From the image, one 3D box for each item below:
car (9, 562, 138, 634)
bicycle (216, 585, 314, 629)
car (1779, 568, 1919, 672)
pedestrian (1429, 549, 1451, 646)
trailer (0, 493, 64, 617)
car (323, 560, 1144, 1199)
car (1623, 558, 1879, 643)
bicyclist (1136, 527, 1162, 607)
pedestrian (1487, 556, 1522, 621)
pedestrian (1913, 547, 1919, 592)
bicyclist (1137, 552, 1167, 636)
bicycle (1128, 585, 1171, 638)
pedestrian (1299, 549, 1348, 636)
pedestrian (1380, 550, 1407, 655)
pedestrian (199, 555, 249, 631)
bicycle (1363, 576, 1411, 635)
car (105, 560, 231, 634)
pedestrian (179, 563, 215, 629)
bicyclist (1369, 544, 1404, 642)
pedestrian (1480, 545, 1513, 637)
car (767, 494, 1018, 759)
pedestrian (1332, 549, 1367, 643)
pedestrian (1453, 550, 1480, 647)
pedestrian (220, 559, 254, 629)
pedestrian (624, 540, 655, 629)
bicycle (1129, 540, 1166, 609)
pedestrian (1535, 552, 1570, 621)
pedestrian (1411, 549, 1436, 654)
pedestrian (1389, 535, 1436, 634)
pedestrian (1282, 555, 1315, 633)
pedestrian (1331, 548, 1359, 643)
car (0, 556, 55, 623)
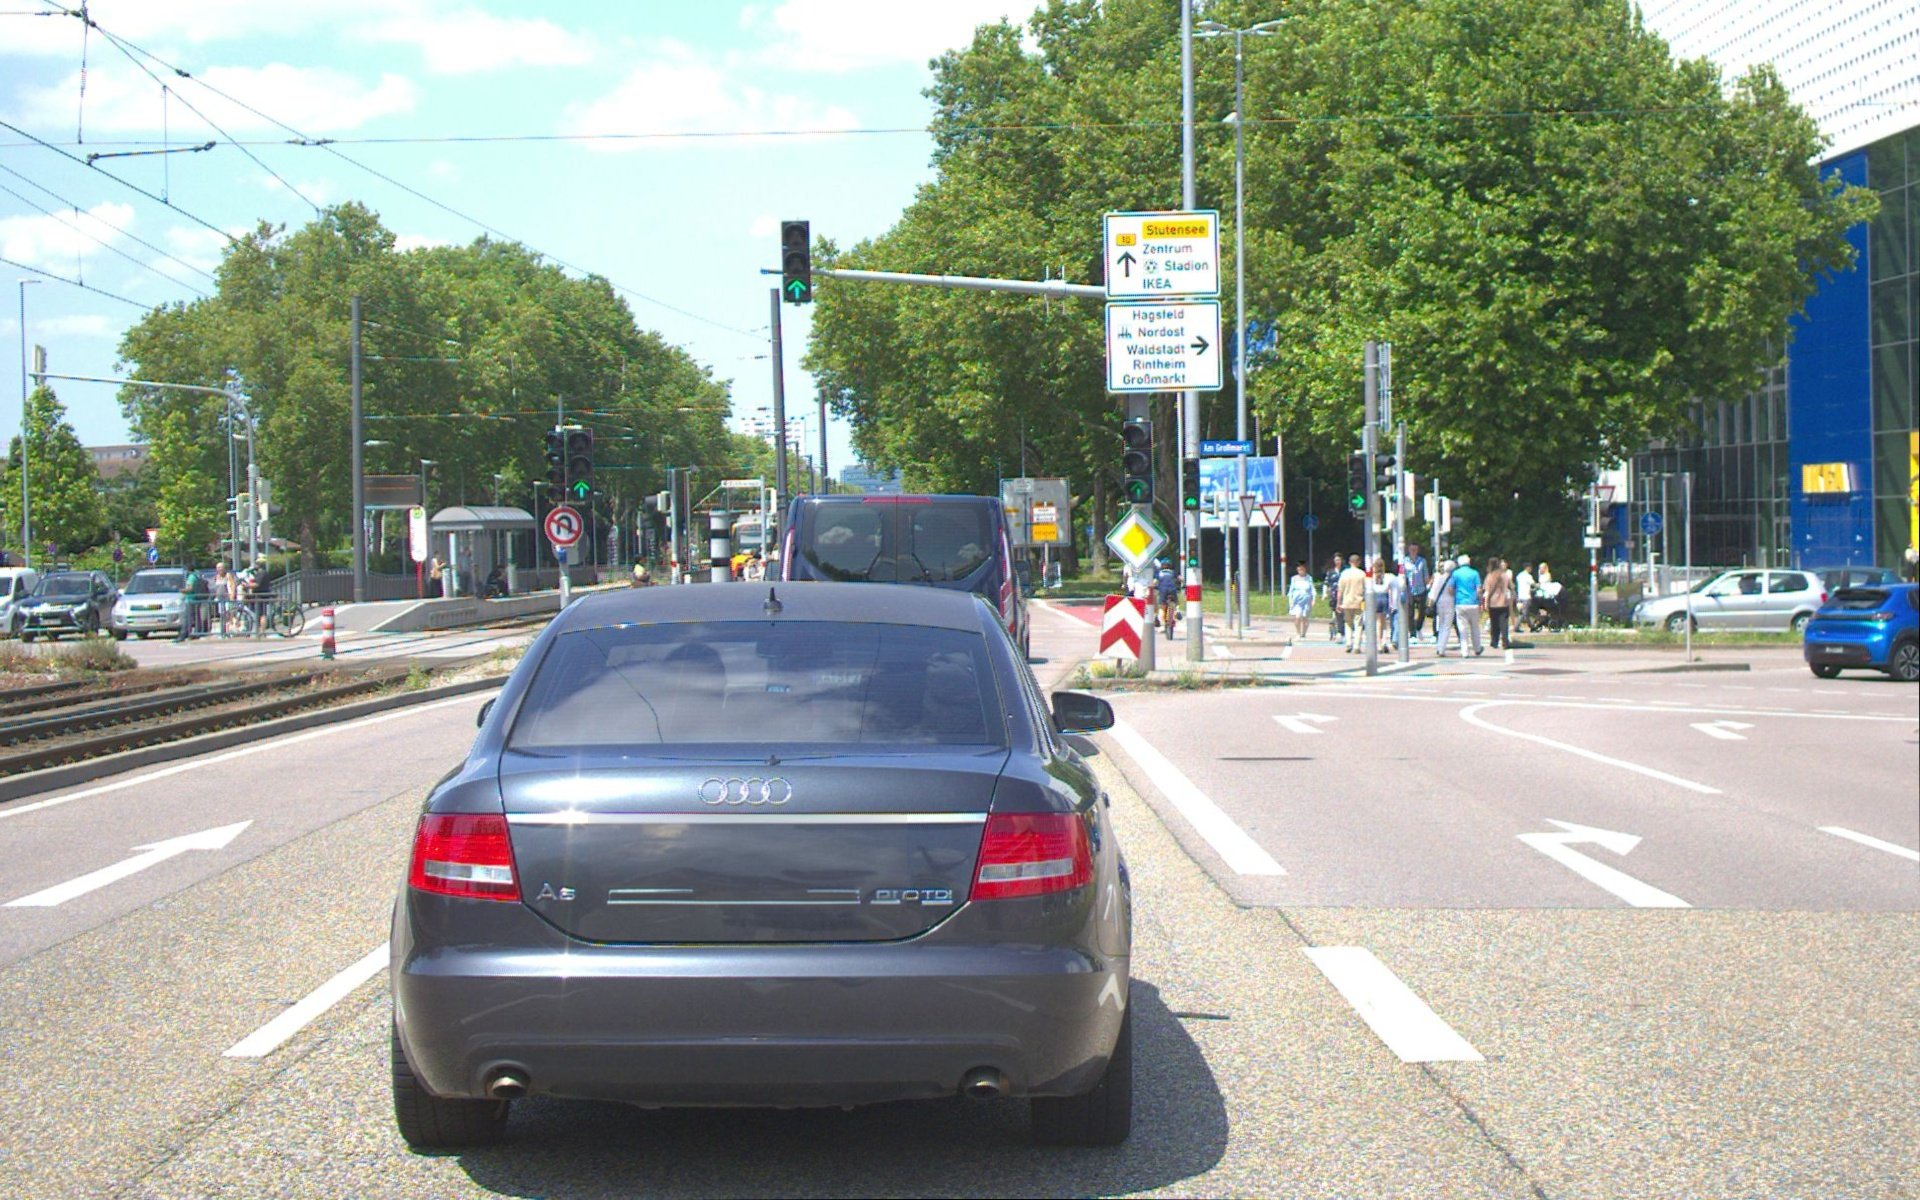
[{"bbox_3d":[-21.664,-0.068,84.195,1.822,1.664,4.461,1,1,2],"label":"car"},{"bbox_3d":[-15.093,0.149,74.667,2.055,0.922,0.753,0,1,-10],"label":"bicycle"},{"bbox_3d":[14.285,0.292,51.268,3.987,1.449,1.843,1,1,-36],"label":"car"},{"bbox_3d":[8.053,-0.044,57.710,0.320,1.629,0.377,0,1,3],"label":"pedestrian"},{"bbox_3d":[-28.544,-1.276,96.575,2.767,3.506,15.879,0,1,-1],"label":"trailer"},{"bbox_3d":[-0.509,0.633,9.546,1.792,1.450,4.000,0,1,0],"label":"car"},{"bbox_3d":[15.235,-0.003,66.399,4.498,1.481,2.000,1,1,3],"label":"car"},{"bbox_3d":[4.235,-0.737,77.062,0.528,1.783,1.088,0,0,0],"label":"bicyclist"},{"bbox_3d":[12.893,-0.271,81.335,0.705,1.539,0.677,1,1,19],"label":"pedestrian"},{"bbox_3d":[28.979,-0.921,103.852,0.288,1.338,0.266,0,0,0],"label":"pedestrian"},{"bbox_3d":[3.820,-0.125,68.283,0.528,1.670,1.088,0,0,0],"label":"bicyclist"},{"bbox_3d":[3.750,0.209,68.235,0.688,1.002,2.751,0,1,0],"label":"bicycle"},{"bbox_3d":[6.833,-0.148,64.647,0.714,1.629,0.706,1,1,25],"label":"pedestrian"},{"bbox_3d":[6.779,0.041,53.750,0.381,1.629,0.377,0,1,3],"label":"pedestrian"},{"bbox_3d":[-16.785,-0.160,78.421,0.824,1.714,0.774,1,0,22],"label":"pedestrian"},{"bbox_3d":[7.668,0.093,61.719,0.660,1.018,1.860,1,1,13],"label":"bicycle"},{"bbox_3d":[-18.958,-0.093,82.498,1.822,1.664,4.461,1,1,2],"label":"car"},{"bbox_3d":[-16.768,-0.084,75.578,0.685,1.438,0.573,0,0,-4],"label":"pedestrian"},{"bbox_3d":[7.670,-0.133,61.799,0.529,1.758,0.827,0,0,13],"label":"bicyclist"},{"bbox_3d":[9.710,-0.169,62.224,0.521,1.664,0.494,0,1,3],"label":"pedestrian"},{"bbox_3d":[-0.517,0.176,27.140,1.836,1.943,4.000,0,0,-1],"label":"car"},{"bbox_3d":[6.742,-0.071,59.525,0.554,1.629,0.433,0,1,3],"label":"pedestrian"},{"bbox_3d":[8.482,-0.028,57.556,0.398,1.629,0.371,0,1,3],"label":"pedestrian"},{"bbox_3d":[-16.127,-0.144,76.688,0.685,1.559,0.573,0,0,-4],"label":"pedestrian"},{"bbox_3d":[-7.274,-0.355,78.045,0.685,2.007,0.573,0,0,-4],"label":"pedestrian"},{"bbox_3d":[4.218,-0.588,77.452,0.688,1.514,2.751,0,1,0],"label":"bicycle"},{"bbox_3d":[14.047,-0.317,81.510,0.705,1.629,0.611,1,1,19],"label":"pedestrian"},{"bbox_3d":[7.244,0.026,53.729,0.339,1.629,0.377,0,1,3],"label":"pedestrian"},{"bbox_3d":[8.501,-0.290,64.581,0.685,1.840,0.706,1,1,25],"label":"pedestrian"},{"bbox_3d":[6.637,-0.128,67.351,0.494,1.514,0.706,1,1,17],"label":"pedestrian"},{"bbox_3d":[6.659,-0.079,59.487,0.445,1.629,0.430,0,1,3],"label":"pedestrian"},{"bbox_3d":[-24.981,-0.293,89.032,1.822,1.664,4.461,1,1,1],"label":"car"}]
